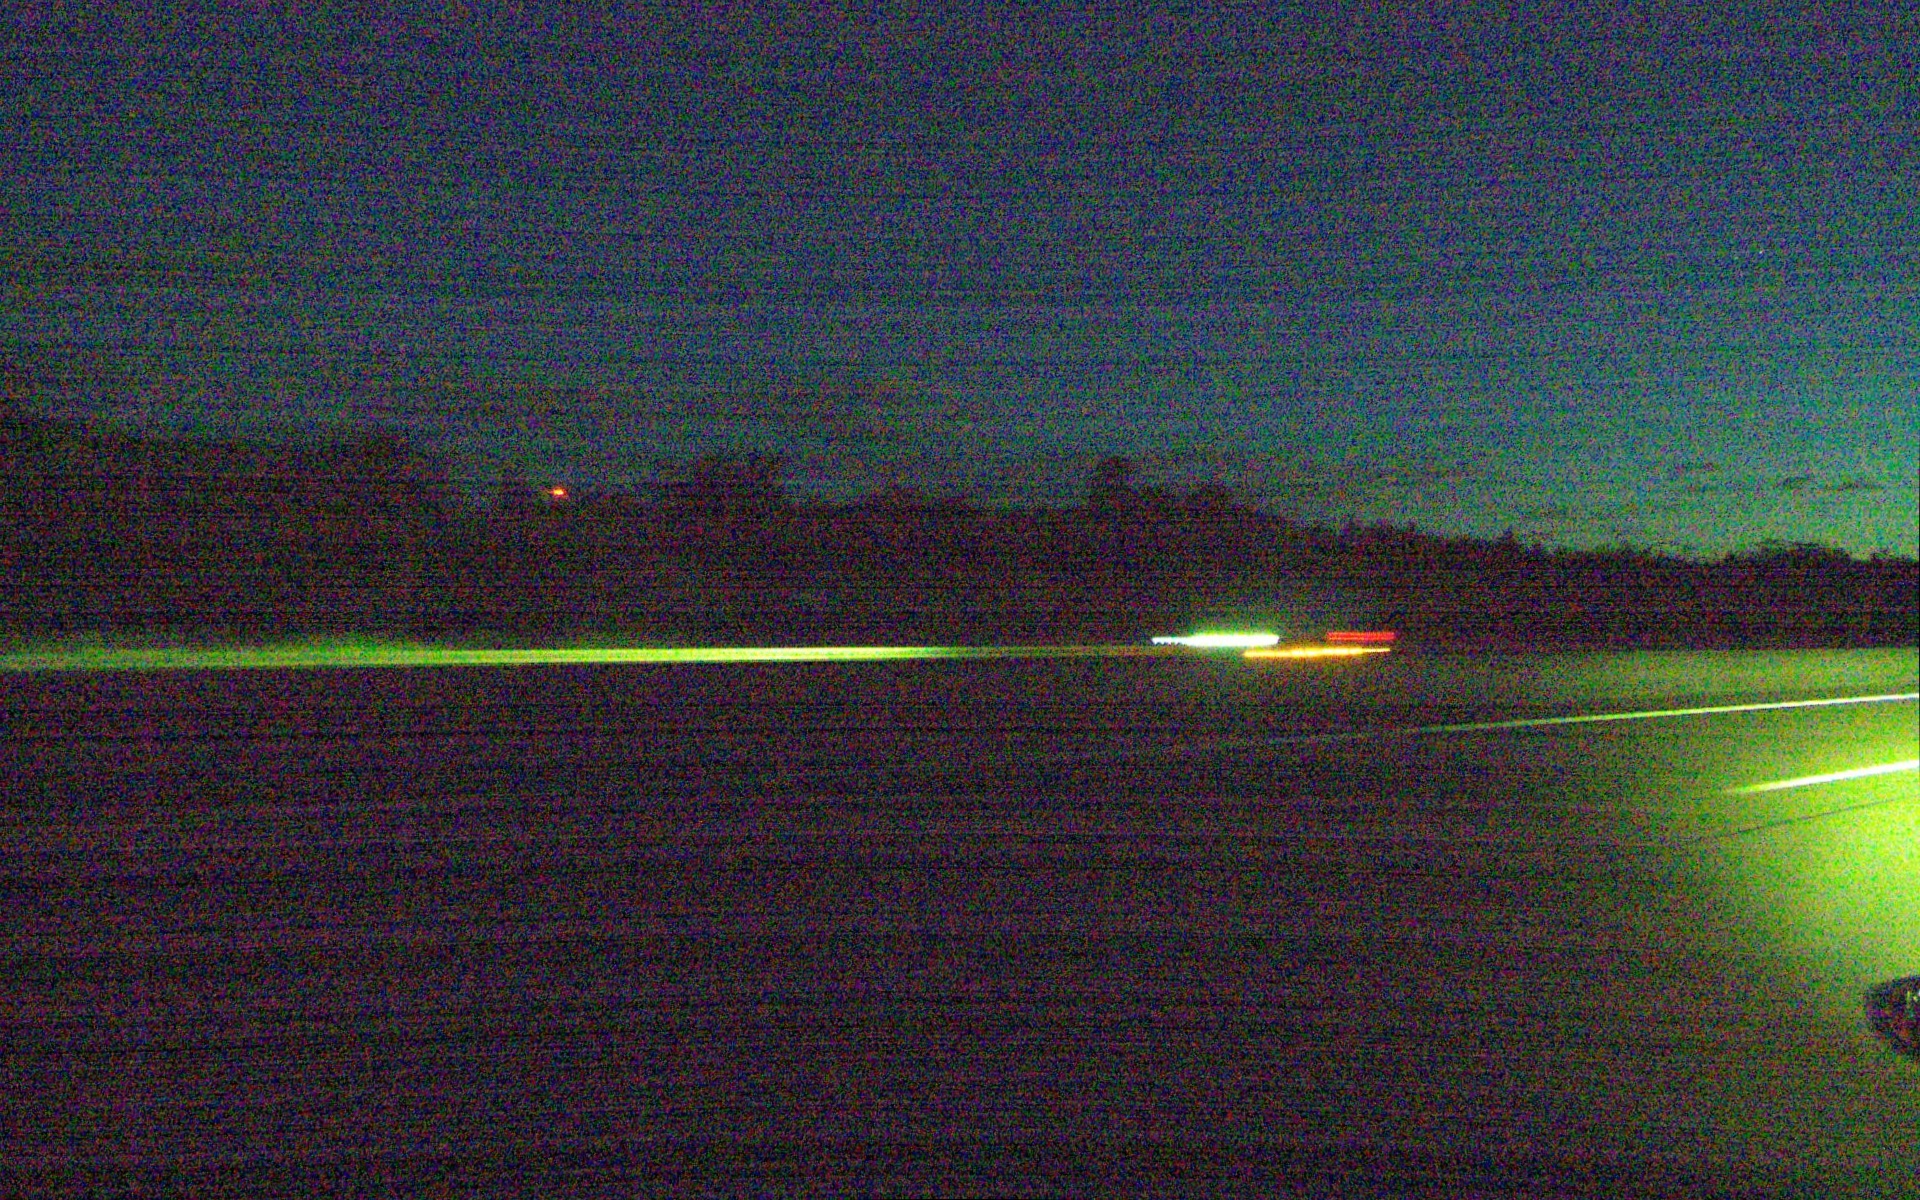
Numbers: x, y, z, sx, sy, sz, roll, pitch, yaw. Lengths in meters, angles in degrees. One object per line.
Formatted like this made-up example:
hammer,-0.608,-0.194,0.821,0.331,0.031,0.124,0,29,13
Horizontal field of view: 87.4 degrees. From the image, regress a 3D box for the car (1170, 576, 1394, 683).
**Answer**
car,9.855,0.821,30.615,6.522,2.977,2.833,0,1,-30
